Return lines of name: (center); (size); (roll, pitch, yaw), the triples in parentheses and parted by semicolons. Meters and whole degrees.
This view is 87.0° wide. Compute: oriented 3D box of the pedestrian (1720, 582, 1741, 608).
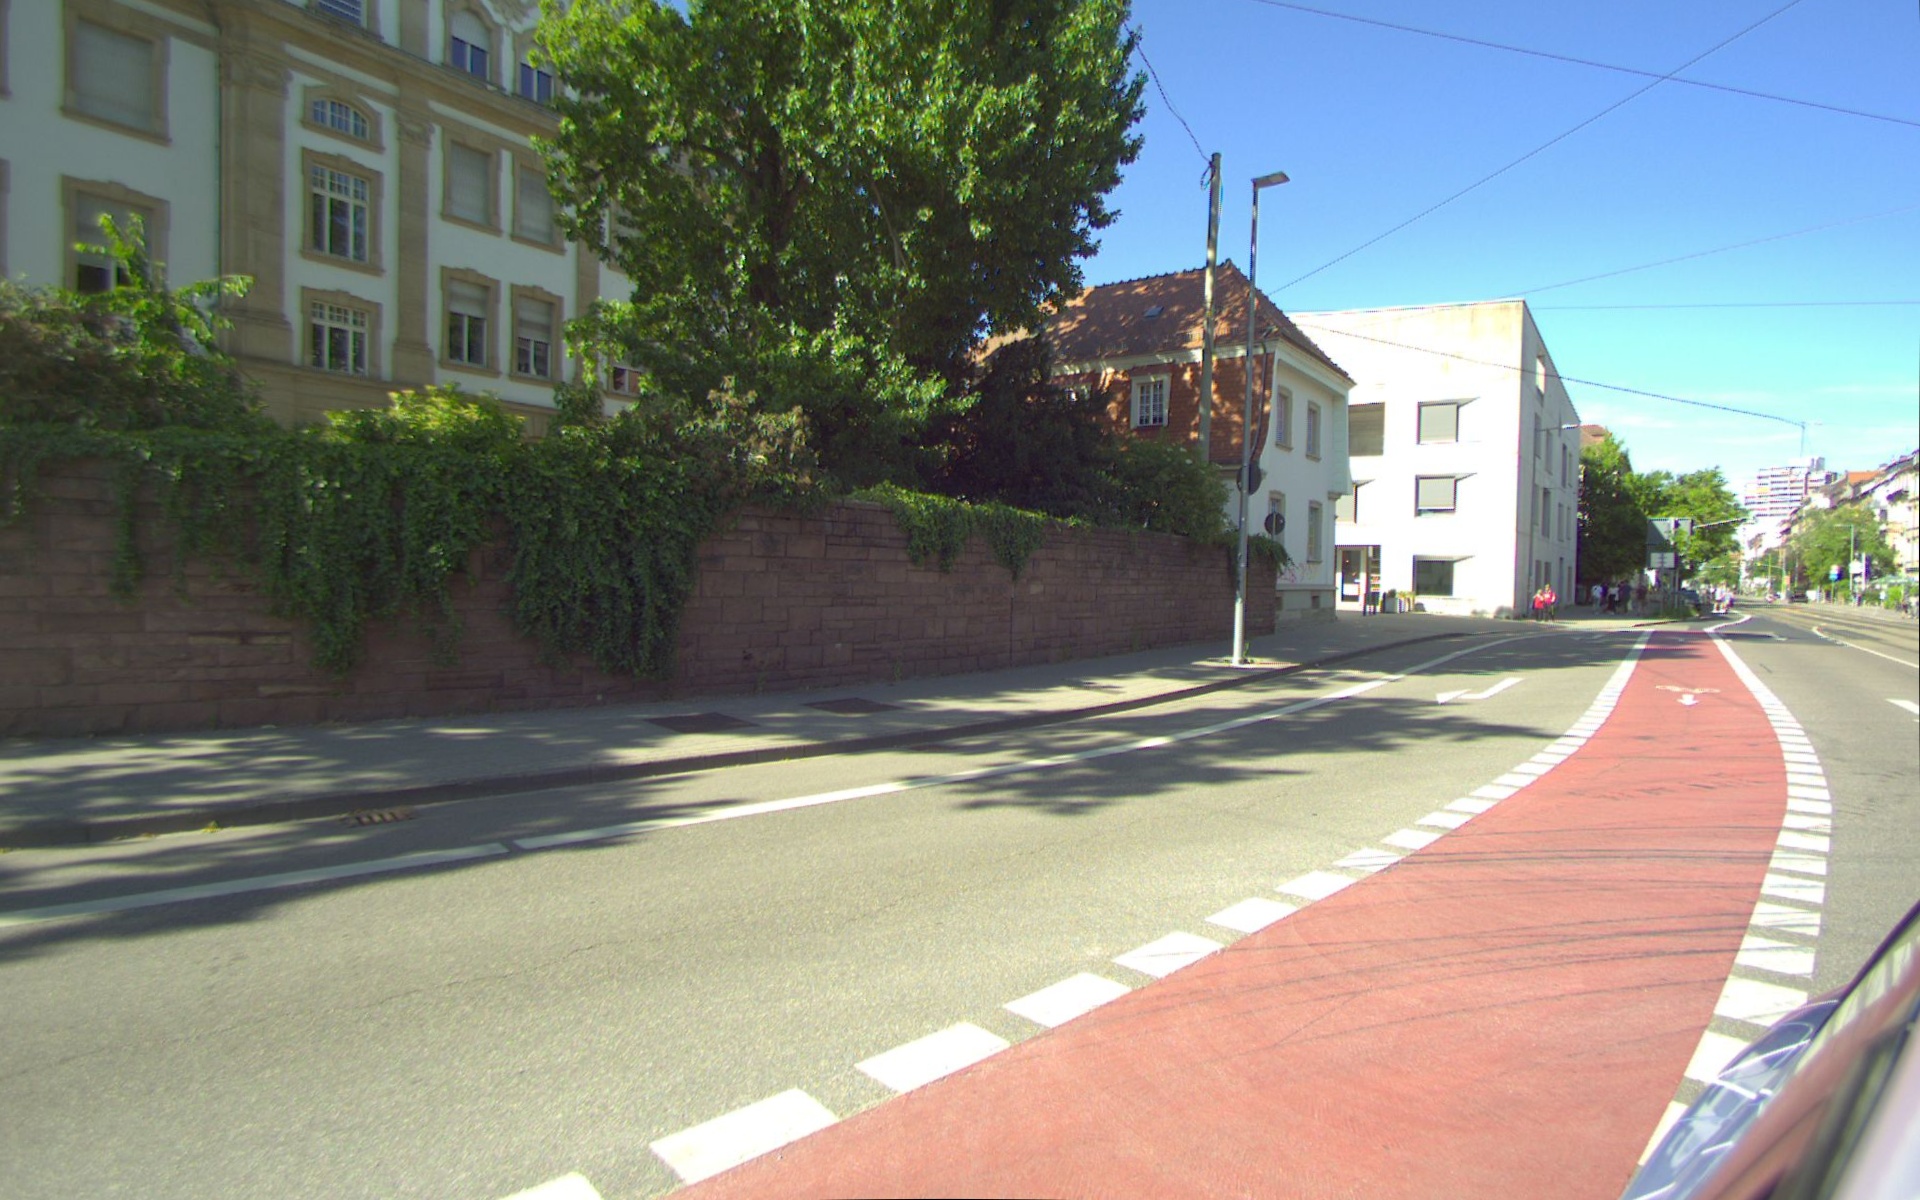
pedestrian: (52.892, -0.344, 69.435); (0.919, 1.759, 0.675); (2, 1, 18)

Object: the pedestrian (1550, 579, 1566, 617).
pedestrian: (25.412, -0.097, 43.015); (0.531, 1.586, 0.513); (2, 1, 36)

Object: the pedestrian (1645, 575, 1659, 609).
pedestrian: (36.656, -0.427, 53.604); (0.584, 1.749, 0.513); (2, 1, 36)

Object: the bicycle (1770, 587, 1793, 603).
bicycle: (89.490, -0.591, 110.258); (0.991, 1.702, 2.966); (0, 1, 19)

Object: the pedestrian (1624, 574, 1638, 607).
pedestrian: (37.790, -0.556, 56.994); (0.584, 1.828, 0.538); (2, 1, 36)

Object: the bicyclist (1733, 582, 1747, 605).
bicyclist: (49.747, -0.410, 64.536); (0.663, 1.480, 0.613); (0, 1, 41)

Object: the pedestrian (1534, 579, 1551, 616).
pedestrian: (25.090, -0.110, 43.574); (0.531, 1.586, 0.513); (2, 1, 36)

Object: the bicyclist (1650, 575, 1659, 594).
bicyclist: (81.845, -1.823, 119.219); (0.809, 2.234, 0.971); (0, 1, 39)

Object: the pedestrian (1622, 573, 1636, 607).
pedestrian: (37.003, -0.545, 55.954); (0.584, 1.828, 0.575); (2, 1, 36)

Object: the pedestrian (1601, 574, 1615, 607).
pedestrian: (36.037, -0.545, 56.317); (0.584, 1.828, 0.575); (2, 1, 36)

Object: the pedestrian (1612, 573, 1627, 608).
pedestrian: (35.474, -0.511, 54.445); (0.584, 1.828, 0.538); (2, 1, 36)

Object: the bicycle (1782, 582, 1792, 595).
bicycle: (115.650, -1.630, 141.511); (0.998, 1.702, 2.946); (0, 2, 37)

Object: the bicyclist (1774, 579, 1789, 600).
bicyclist: (89.535, -1.146, 110.326); (0.991, 2.296, 1.014); (0, 1, 20)

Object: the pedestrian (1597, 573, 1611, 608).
pedestrian: (34.927, -0.517, 54.877); (0.584, 1.828, 0.538); (2, 1, 36)

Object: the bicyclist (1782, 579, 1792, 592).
bicyclist: (115.641, -2.034, 141.503); (0.998, 1.743, 0.972); (0, 1, 37)

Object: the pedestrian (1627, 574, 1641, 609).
pedestrian: (35.993, -0.442, 54.039); (0.584, 1.828, 0.513); (2, 1, 36)

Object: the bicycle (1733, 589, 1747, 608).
bicycle: (49.763, -0.091, 64.554); (0.663, 1.166, 1.648); (0, 2, 40)
